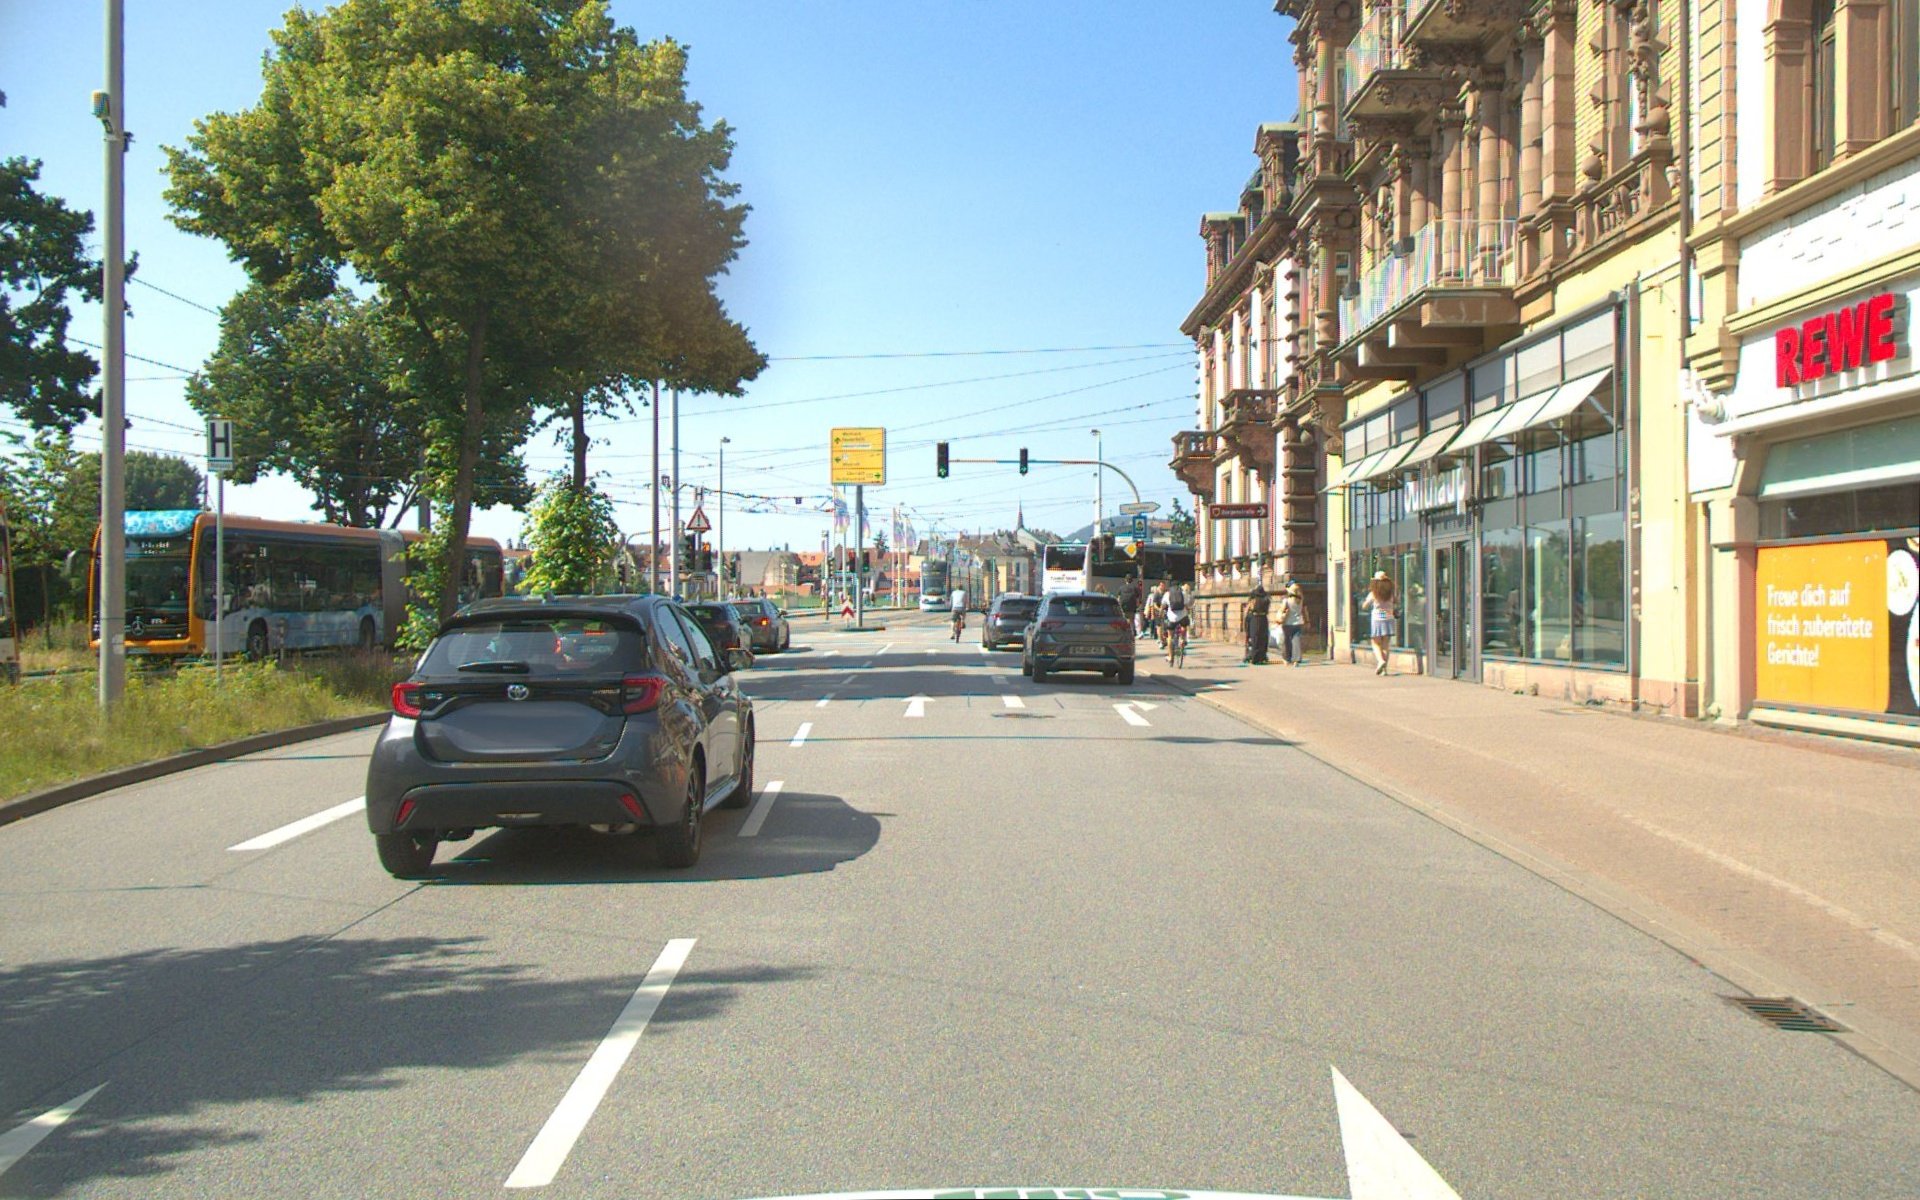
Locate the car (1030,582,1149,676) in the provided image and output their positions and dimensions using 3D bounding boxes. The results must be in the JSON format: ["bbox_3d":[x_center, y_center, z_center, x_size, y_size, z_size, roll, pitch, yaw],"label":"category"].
[{"bbox_3d":[2.242,0.500,29.583,1.835,1.519,4.000,1,0,1],"label":"car"}]

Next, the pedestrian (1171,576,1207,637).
[{"bbox_3d":[6.345,0.173,45.895,0.845,1.669,0.875,-1,0,-2],"label":"pedestrian"}]

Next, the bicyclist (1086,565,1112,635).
[{"bbox_3d":[4.037,0.009,48.147,0.674,1.996,0.778,1,-1,3],"label":"bicyclist"}]

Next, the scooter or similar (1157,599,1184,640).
[{"bbox_3d":[5.596,0.520,43.956,0.588,1.066,0.799,1,-1,-2],"label":"scooter or similar"}]

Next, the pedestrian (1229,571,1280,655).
[{"bbox_3d":[6.043,0.261,33.936,0.845,1.669,0.875,1,-1,-2],"label":"pedestrian"}]

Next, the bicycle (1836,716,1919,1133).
[{"bbox_3d":[2.998,0.909,4.018,0.719,1.112,1.911,1,0,0],"label":"bicycle"}]

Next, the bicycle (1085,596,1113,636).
[{"bbox_3d":[4.041,0.469,48.284,0.719,1.112,1.898,1,0,2],"label":"bicycle"}]

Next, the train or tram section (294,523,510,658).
[{"bbox_3d":[-16.467,-0.290,49.596,2.762,3.643,8.232,1,0,7],"label":"train or tram section"}]

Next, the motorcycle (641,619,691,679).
[{"bbox_3d":[-5.759,0.941,32.500,0.684,1.082,1.909,-2,0,-3],"label":"motorcycle"}]

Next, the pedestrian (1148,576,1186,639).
[{"bbox_3d":[5.581,0.212,44.665,0.845,1.669,0.875,1,-1,-2],"label":"pedestrian"}]

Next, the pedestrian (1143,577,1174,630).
[{"bbox_3d":[6.465,0.121,53.809,0.845,1.669,0.875,1,-1,-2],"label":"pedestrian"}]

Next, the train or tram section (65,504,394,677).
[{"bbox_3d":[-17.389,-0.231,40.478,2.763,3.643,10.039,1,0,5],"label":"train or tram section"}]

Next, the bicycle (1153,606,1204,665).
[{"bbox_3d":[4.299,0.683,32.663,0.719,1.112,1.897,1,0,-1],"label":"bicycle"}]

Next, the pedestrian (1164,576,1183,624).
[{"bbox_3d":[7.539,0.008,58.453,0.564,1.669,0.611,1,-1,-2],"label":"pedestrian"}]

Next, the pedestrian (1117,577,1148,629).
[{"bbox_3d":[5.570,0.095,53.412,0.845,1.669,0.875,1,-1,-2],"label":"pedestrian"}]

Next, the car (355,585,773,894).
[{"bbox_3d":[-2.214,0.712,10.316,1.741,1.501,3.998,-2,0,-2],"label":"car"}]

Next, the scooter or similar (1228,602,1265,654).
[{"bbox_3d":[5.979,0.587,34.558,0.588,1.066,0.799,1,-1,-2],"label":"scooter or similar"}]

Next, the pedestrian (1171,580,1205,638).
[{"bbox_3d":[6.718,0.254,48.792,0.845,1.669,0.875,1,-1,-2],"label":"pedestrian"}]

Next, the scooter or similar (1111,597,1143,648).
[{"bbox_3d":[4.000,0.535,39.734,0.674,1.188,1.464,1,0,3],"label":"scooter or similar"}]

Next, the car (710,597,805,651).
[{"bbox_3d":[-5.481,0.625,45.214,1.995,1.355,4.001,-1,0,1],"label":"car"}]

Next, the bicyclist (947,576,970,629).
[{"bbox_3d":[-0.047,0.069,51.290,0.674,1.604,1.049,1,-1,-2],"label":"bicyclist"}]

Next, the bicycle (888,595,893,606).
[{"bbox_3d":[-7.604,0.028,180.836,0.546,1.144,1.222,1,0,-2],"label":"bicycle"}]

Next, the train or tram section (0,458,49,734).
[{"bbox_3d":[-13.966,-0.065,19.951,2.560,3.643,6.017,1,0,0],"label":"train or tram section"}]

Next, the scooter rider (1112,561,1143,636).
[{"bbox_3d":[4.031,-0.038,39.777,0.674,1.759,0.778,1,-1,3],"label":"scooter rider"}]

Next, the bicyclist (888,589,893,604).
[{"bbox_3d":[-7.590,-0.365,180.795,0.546,1.563,0.743,1,-1,-2],"label":"bicyclist"}]

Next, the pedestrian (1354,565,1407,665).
[{"bbox_3d":[7.093,0.244,27.924,0.641,1.649,0.815,-1,1,-2],"label":"pedestrian"}]

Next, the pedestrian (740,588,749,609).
[{"bbox_3d":[-14.834,-0.083,113.916,0.546,1.440,0.636,1,-1,-2],"label":"pedestrian"}]

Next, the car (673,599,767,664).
[{"bbox_3d":[-5.318,0.680,37.073,1.422,1.323,4.000,1,0,1],"label":"car"}]

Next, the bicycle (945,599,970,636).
[{"bbox_3d":[-0.084,0.529,51.371,0.719,1.112,1.897,1,0,-1],"label":"bicycle"}]

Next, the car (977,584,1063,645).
[{"bbox_3d":[1.555,0.387,44.537,1.954,1.519,3.998,1,0,-3],"label":"car"}]

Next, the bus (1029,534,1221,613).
[{"bbox_3d":[6.720,-0.991,66.300,2.929,2.825,8.579,1,-1,44],"label":"bus"}]

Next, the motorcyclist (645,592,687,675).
[{"bbox_3d":[-5.780,0.665,32.497,0.675,1.583,0.717,-2,-1,-3],"label":"motorcyclist"}]

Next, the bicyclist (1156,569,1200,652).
[{"bbox_3d":[4.307,0.212,32.715,0.674,1.604,1.049,1,-1,-1],"label":"bicyclist"}]

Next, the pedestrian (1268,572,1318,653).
[{"bbox_3d":[7.028,0.265,34.950,0.845,1.669,0.875,1,-1,-2],"label":"pedestrian"}]

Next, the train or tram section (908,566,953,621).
[{"bbox_3d":[-2.113,-0.506,121.432,2.764,3.843,8.228,1,0,2],"label":"train or tram section"}]

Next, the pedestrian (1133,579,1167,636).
[{"bbox_3d":[5.676,0.227,49.420,0.845,1.669,0.875,1,-1,-2],"label":"pedestrian"}]

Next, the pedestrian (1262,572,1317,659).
[{"bbox_3d":[6.478,0.293,32.518,0.845,1.668,0.875,-2,1,-2],"label":"pedestrian"}]

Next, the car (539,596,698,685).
[{"bbox_3d":[-5.686,0.653,28.004,1.778,1.355,4.000,1,0,1],"label":"car"}]

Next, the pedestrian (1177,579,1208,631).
[{"bbox_3d":[7.635,0.159,54.425,0.845,1.669,0.875,1,-1,-2],"label":"pedestrian"}]
